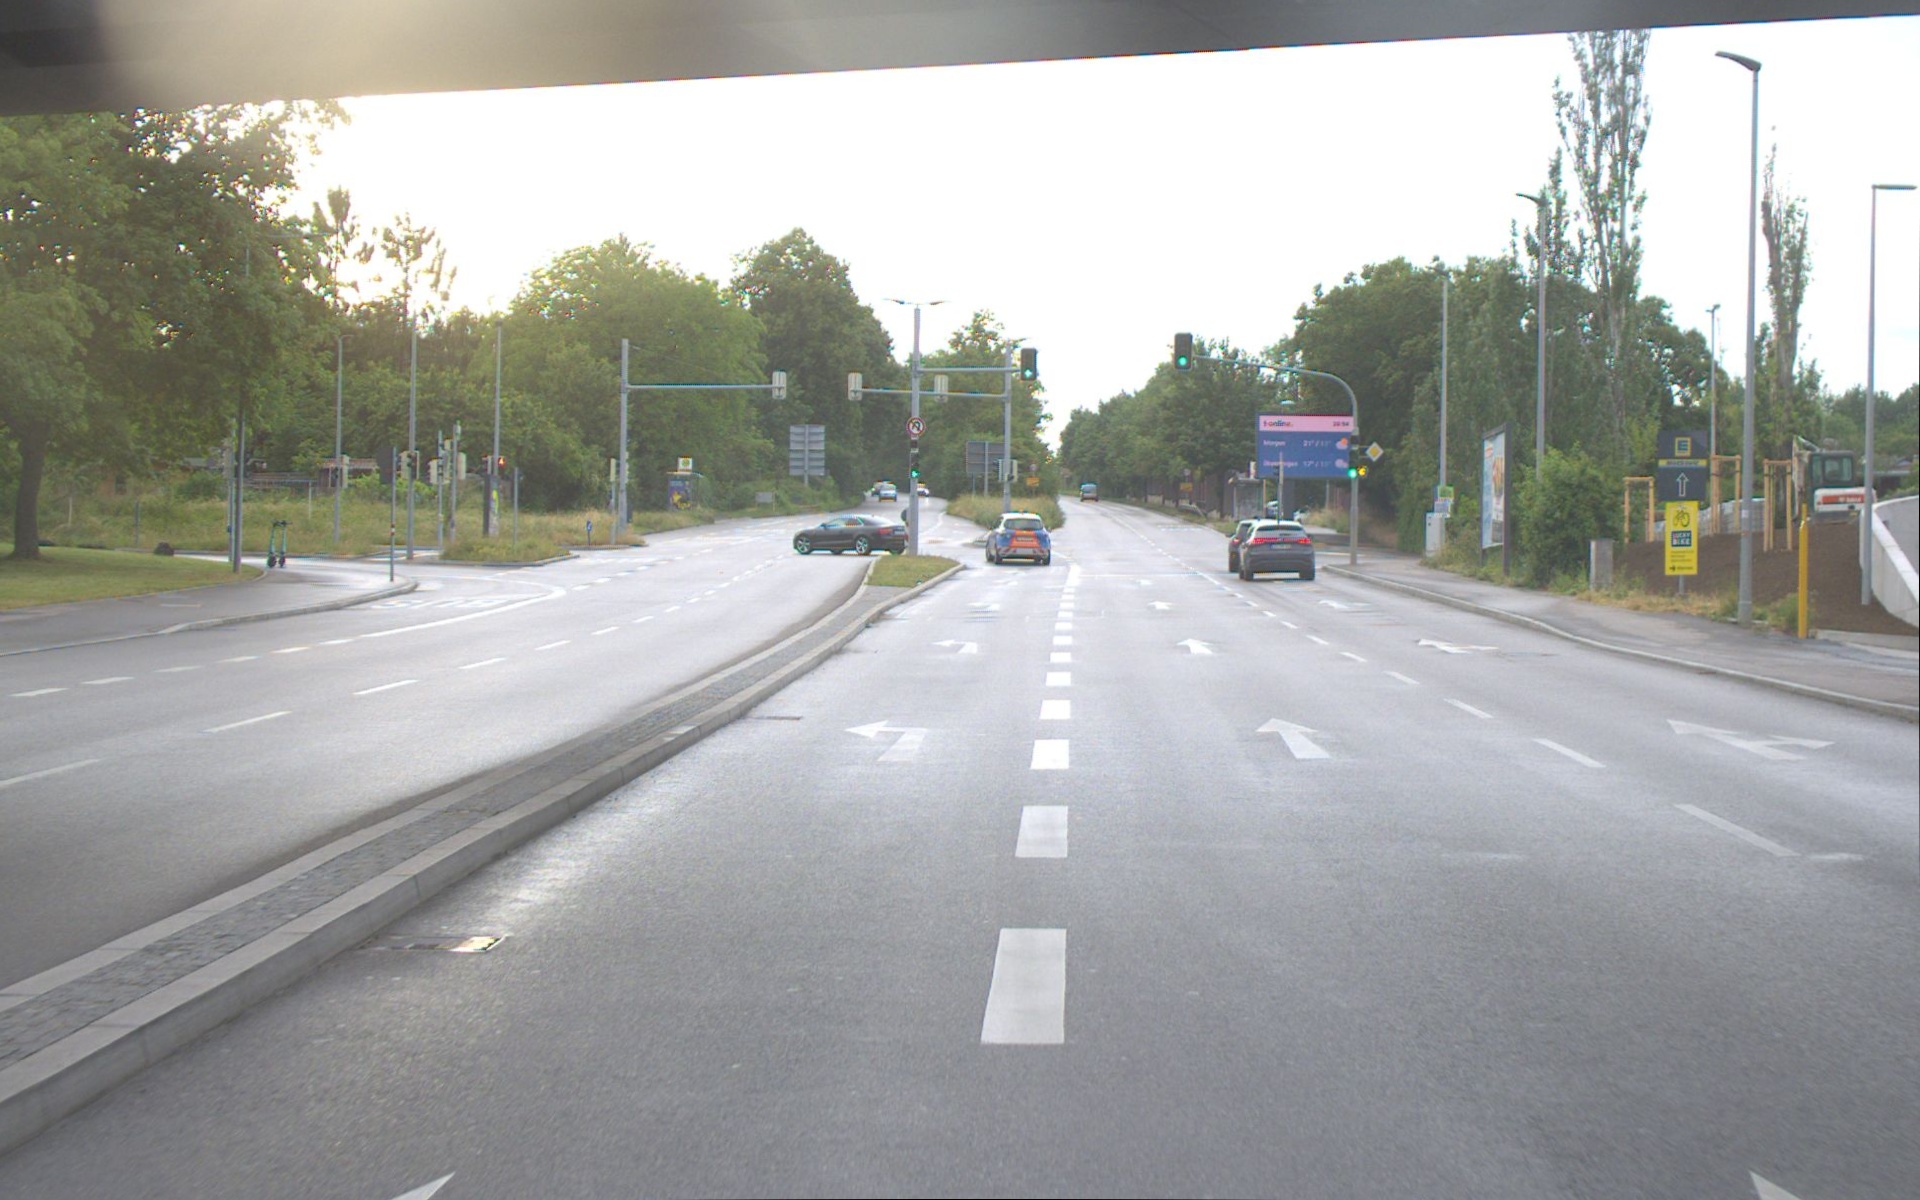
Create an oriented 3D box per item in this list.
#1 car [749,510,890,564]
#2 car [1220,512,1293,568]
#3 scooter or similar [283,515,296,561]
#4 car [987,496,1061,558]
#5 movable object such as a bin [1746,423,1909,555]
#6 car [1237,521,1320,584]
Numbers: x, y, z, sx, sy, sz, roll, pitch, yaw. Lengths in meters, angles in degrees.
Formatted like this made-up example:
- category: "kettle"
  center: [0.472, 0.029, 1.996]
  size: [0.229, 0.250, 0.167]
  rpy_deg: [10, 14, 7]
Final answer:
- category: "car"
  center: [-4.739, -2.123, 115.722]
  size: [4.648, 1.577, 2.173]
  rpy_deg: [3, 0, -3]
- category: "car"
  center: [8.332, -1.711, 96.842]
  size: [1.745, 1.465, 4.166]
  rpy_deg: [1, 2, 1]
- category: "scooter or similar"
  center: [-17.936, -1.657, 91.935]
  size: [0.311, 1.214, 1.308]
  rpy_deg: [1, 2, -12]
- category: "car"
  center: [1.915, -2.192, 104.196]
  size: [2.076, 1.712, 4.198]
  rpy_deg: [3, 0, 0]
- category: "movable object such as a bin"
  center: [22.378, -2.879, 88.907]
  size: [2.301, 3.264, 5.426]
  rpy_deg: [1, 2, -6]
- category: "car"
  center: [7.930, -1.202, 85.950]
  size: [1.745, 1.465, 4.166]
  rpy_deg: [1, 2, 1]
